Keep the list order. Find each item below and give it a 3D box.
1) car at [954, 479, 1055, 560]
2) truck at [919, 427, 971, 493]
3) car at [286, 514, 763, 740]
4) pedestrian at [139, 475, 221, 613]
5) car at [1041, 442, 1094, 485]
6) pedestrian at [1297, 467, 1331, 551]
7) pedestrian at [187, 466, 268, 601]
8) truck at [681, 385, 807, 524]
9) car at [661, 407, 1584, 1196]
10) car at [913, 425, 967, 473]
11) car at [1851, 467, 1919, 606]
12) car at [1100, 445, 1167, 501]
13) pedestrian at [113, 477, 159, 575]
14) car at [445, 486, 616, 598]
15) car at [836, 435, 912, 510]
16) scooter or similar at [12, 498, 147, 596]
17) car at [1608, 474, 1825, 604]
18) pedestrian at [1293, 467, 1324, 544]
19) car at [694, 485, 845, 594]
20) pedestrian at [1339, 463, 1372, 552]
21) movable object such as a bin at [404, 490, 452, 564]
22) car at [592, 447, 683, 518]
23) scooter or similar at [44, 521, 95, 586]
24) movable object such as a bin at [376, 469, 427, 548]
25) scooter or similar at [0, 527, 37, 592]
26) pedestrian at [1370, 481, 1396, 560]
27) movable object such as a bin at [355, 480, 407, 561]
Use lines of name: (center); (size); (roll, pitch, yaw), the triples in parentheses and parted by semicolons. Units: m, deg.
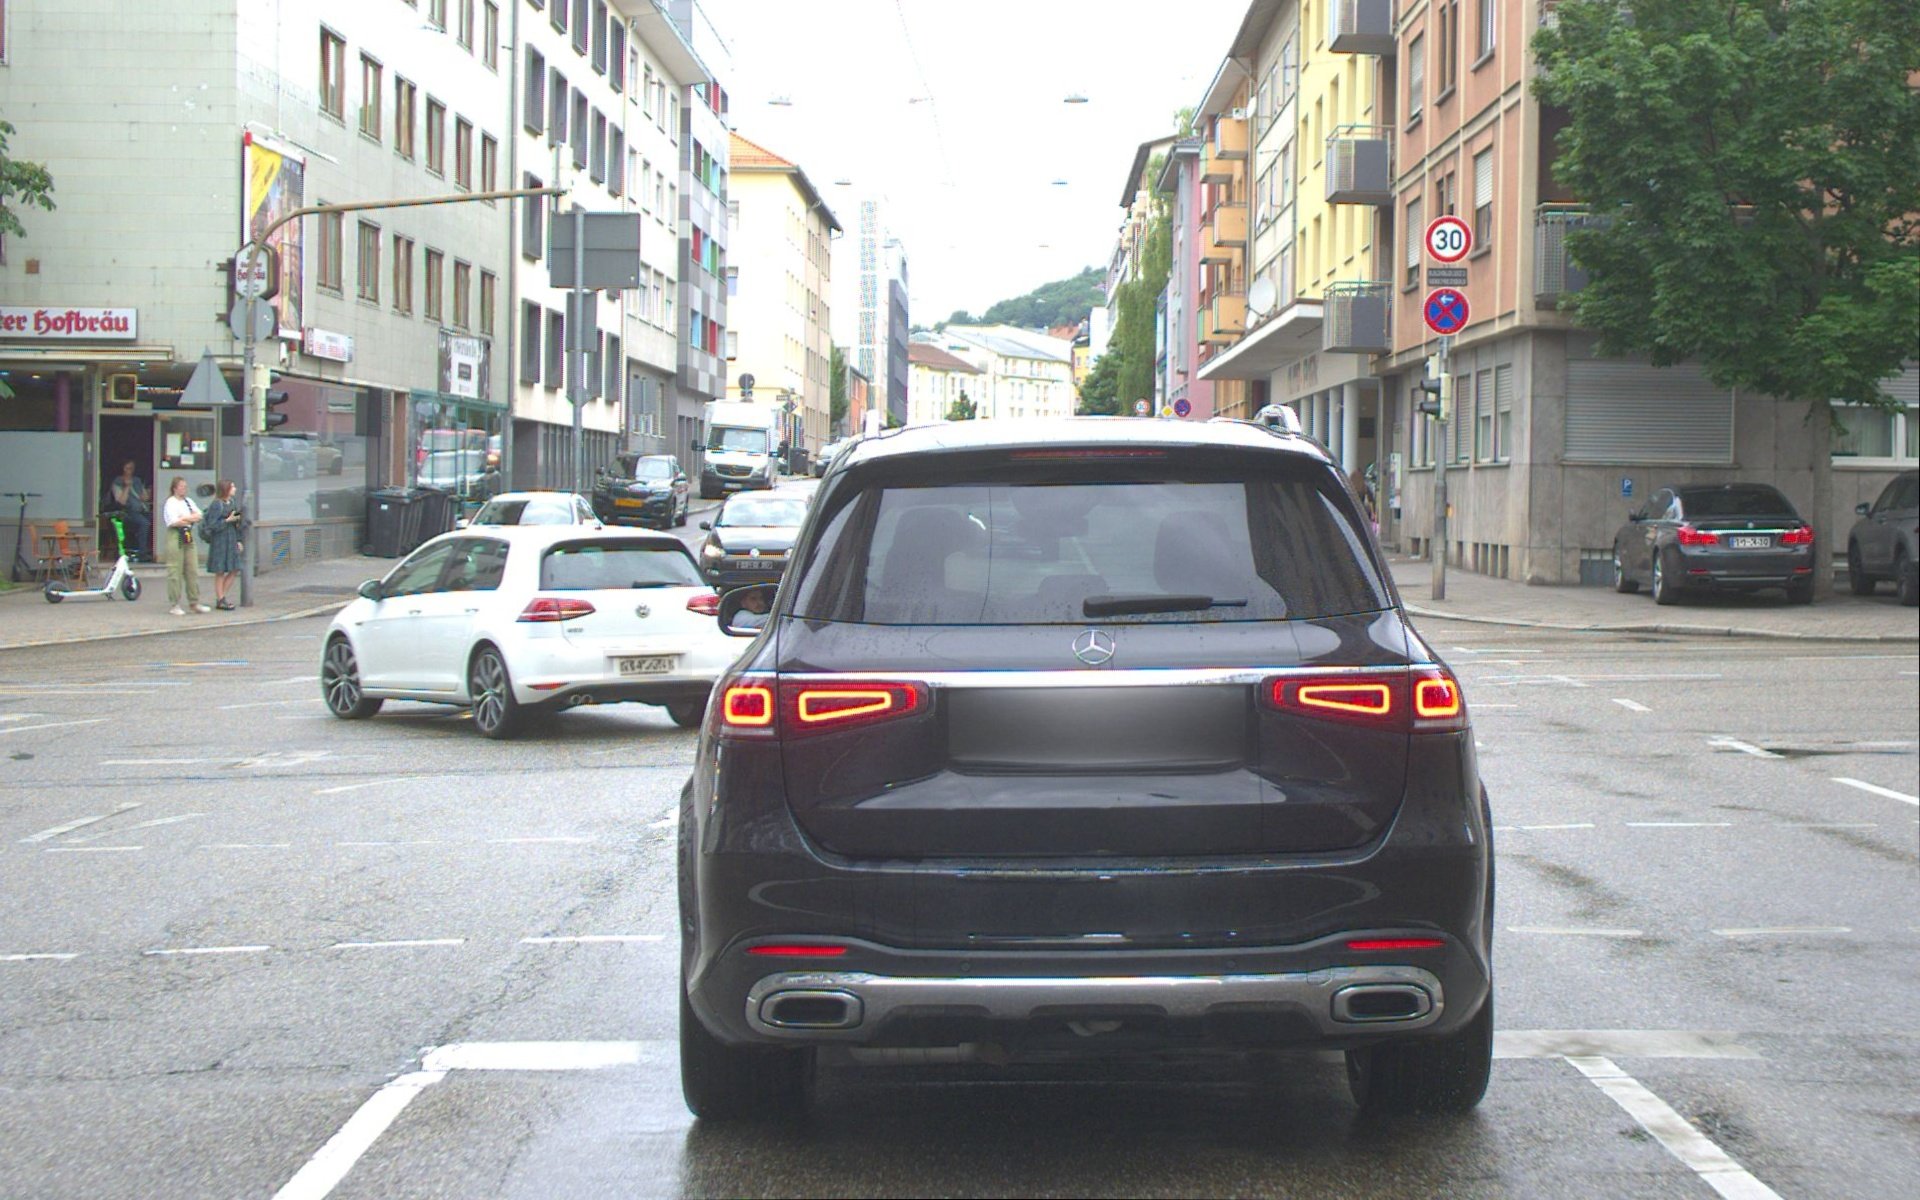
car: (0.852, -1.524, 64.940); (1.844, 1.484, 4.000); (0, 1, 1)
truck: (-0.911, -8.840, 218.291); (2.808, 3.819, 8.144); (2, 0, 3)
car: (-3.303, 0.124, 25.334); (1.830, 1.456, 4.379); (-3, 3, -31)
pedestrian: (-9.621, -0.698, 42.415); (0.708, 1.641, 0.759); (0, 5, -35)
car: (4.401, -5.564, 140.355); (2.016, 1.557, 4.000); (2, 1, 3)
pedestrian: (6.685, -1.725, 64.927); (0.520, 1.533, 0.569); (2, 5, 1)
pedestrian: (-9.209, -0.840, 43.230); (0.708, 1.641, 0.759); (0, 5, -35)
truck: (-6.456, -4.325, 104.029); (2.808, 3.819, 8.144); (2, 0, 3)
car: (0.286, 0.369, 9.948); (2.020, 1.733, 4.748); (0, 2, -2)
car: (-0.720, -5.482, 125.506); (1.844, 1.668, 4.000); (0, 1, 2)
car: (12.369, -0.809, 42.702); (1.987, 1.655, 3.999); (0, 2, 7)
car: (5.496, -3.983, 108.415); (2.016, 1.557, 5.154); (2, 1, 3)
pedestrian: (-12.040, -1.078, 50.232); (0.518, 1.395, 0.578); (2, 0, -3)
car: (-6.070, -0.856, 48.941); (1.844, 1.507, 4.000); (-1, 2, 1)
car: (-2.627, -3.882, 105.692); (2.065, 2.233, 4.620); (0, 1, 2)
scooter or similar: (-11.235, -0.672, 43.869); (1.556, 1.186, 0.501); (2, 0, -28)
car: (9.427, -0.797, 43.207); (1.844, 1.549, 4.796); (0, 2, 2)
pedestrian: (7.179, -1.951, 70.853); (0.520, 1.550, 0.569); (2, 5, 1)
car: (-2.682, -0.888, 49.246); (1.844, 1.484, 4.000); (-1, 2, 1)
pedestrian: (7.121, -1.666, 61.865); (0.479, 1.560, 0.558); (2, 5, 1)
movable object such as a bin: (-9.566, -1.306, 61.807); (0.697, 1.311, 0.782); (2, 0, 0)
car: (-7.440, -2.703, 79.521); (1.723, 1.597, 4.000); (0, 1, 0)
scooter or similar: (-11.851, -0.621, 45.744); (0.458, 0.840, 1.323); (2, 1, -22)
movable object such as a bin: (-9.595, -1.565, 59.070); (0.697, 1.311, 0.782); (2, 0, 0)
scooter or similar: (-12.840, -0.551, 45.249); (1.464, 0.840, 0.549); (2, 1, 38)
pedestrian: (7.612, -1.435, 61.828); (0.363, 1.394, 0.370); (2, 5, 1)
movable object such as a bin: (-9.623, -1.317, 57.170); (0.697, 1.311, 0.782); (2, 0, 0)
